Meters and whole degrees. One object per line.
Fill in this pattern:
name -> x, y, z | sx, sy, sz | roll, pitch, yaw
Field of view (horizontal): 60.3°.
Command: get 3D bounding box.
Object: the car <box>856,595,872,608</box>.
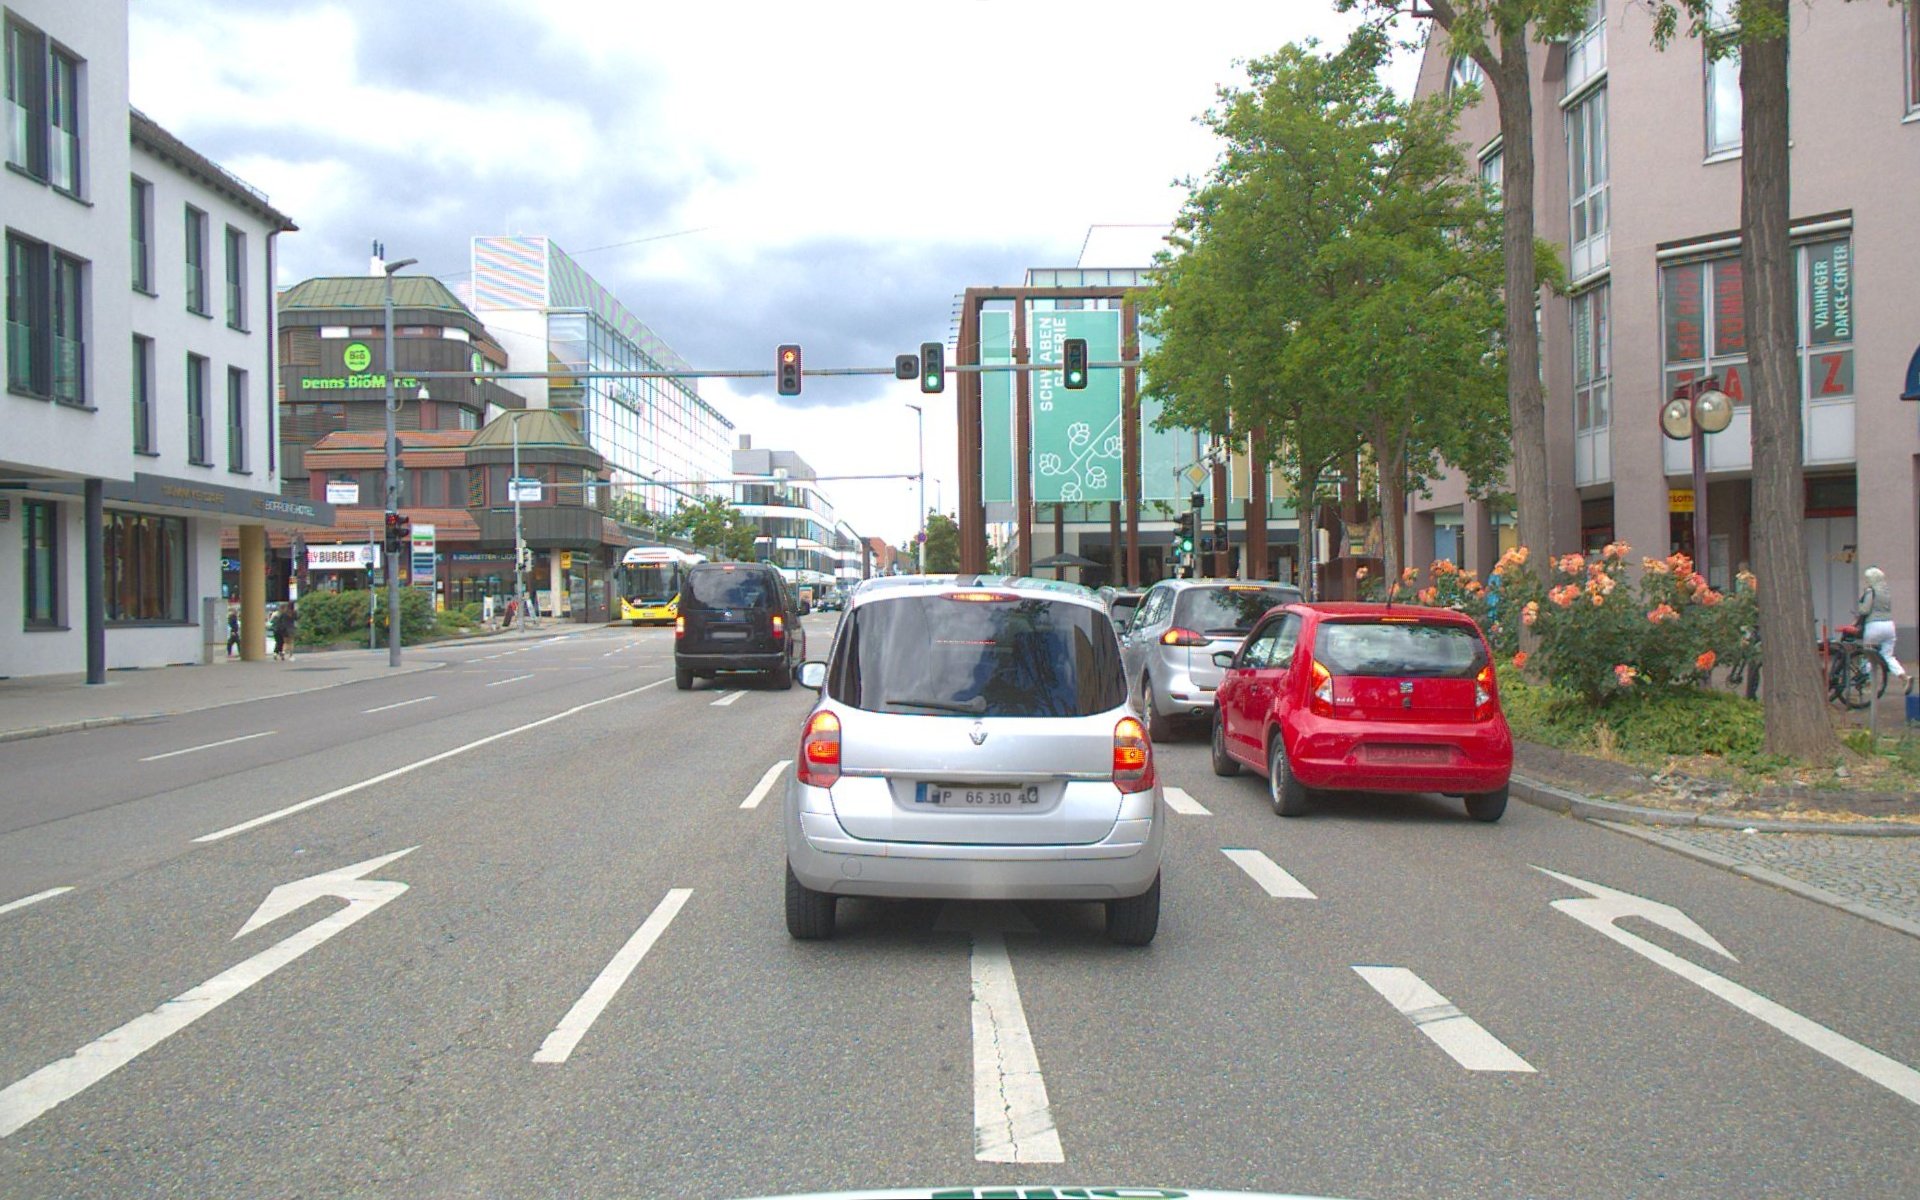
car -> -11.827, 0.134, 204.203 | 1.764, 1.567, 4.065 | 0, 0, 0

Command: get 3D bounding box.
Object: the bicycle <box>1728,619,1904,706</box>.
bicycle -> 10.343, 0.755, 20.009 | 1.861, 1.014, 0.468 | -1, 0, 3

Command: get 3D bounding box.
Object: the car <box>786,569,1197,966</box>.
car -> 0.096, 0.651, 8.220 | 1.606, 1.554, 3.393 | 1, 0, -1

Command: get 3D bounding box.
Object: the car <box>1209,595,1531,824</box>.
car -> 2.963, 0.718, 12.596 | 1.554, 1.468, 3.348 | 1, 0, -1

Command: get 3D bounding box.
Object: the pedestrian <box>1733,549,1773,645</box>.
pedestrian -> 14.320, -0.049, 29.881 | 0.624, 1.706, 0.588 | 0, 0, 28

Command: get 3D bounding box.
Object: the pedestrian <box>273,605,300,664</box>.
pedestrian -> -19.512, 0.980, 47.918 | 0.693, 1.687, 0.934 | -1, 0, -22

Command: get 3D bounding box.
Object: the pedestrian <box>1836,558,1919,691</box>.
pedestrian -> 12.221, 0.313, 21.873 | 0.773, 1.688, 0.819 | -3, 0, -1

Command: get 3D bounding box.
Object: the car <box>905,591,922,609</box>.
car -> -5.315, 0.019, 188.155 | 1.953, 1.983, 4.949 | 0, 0, -2

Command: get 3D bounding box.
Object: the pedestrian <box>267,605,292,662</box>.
pedestrian -> -20.478, 1.009, 49.786 | 0.653, 1.678, 0.788 | -1, 0, -22

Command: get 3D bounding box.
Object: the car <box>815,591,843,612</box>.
car -> -10.089, 0.074, 127.653 | 1.764, 1.567, 4.065 | 0, 0, 0

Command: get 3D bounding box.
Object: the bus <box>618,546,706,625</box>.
bus -> -13.312, -0.637, 74.538 | 2.633, 3.318, 8.650 | 0, 0, -2

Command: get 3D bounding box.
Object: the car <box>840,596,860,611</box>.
car -> -11.537, 0.336, 173.975 | 1.764, 1.567, 4.065 | 0, 0, 0

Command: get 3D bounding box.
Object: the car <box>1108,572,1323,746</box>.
car -> 2.662, 0.561, 18.017 | 1.555, 1.662, 3.914 | 1, 0, -3

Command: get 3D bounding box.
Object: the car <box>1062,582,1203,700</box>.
car -> 2.548, 0.564, 25.233 | 1.555, 1.623, 3.866 | 1, 0, -3

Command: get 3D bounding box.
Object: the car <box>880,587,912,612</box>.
car -> -4.578, -0.045, 119.170 | 1.877, 1.706, 4.244 | 0, 0, 4

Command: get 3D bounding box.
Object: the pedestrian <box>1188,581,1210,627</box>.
pedestrian -> 8.799, 0.130, 60.863 | 0.641, 1.679, 0.557 | -1, 0, -15

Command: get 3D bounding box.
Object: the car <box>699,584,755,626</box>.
car -> -10.040, 0.204, 71.594 | 1.953, 1.735, 4.063 | 0, 0, -2

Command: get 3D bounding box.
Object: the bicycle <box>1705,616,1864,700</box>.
bicycle -> 10.236, 0.717, 20.562 | 1.731, 1.014, 0.447 | -1, 0, 3

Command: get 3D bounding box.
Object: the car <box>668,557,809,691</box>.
car -> -3.376, 0.331, 25.972 | 1.709, 1.887, 4.632 | 1, 0, -2
